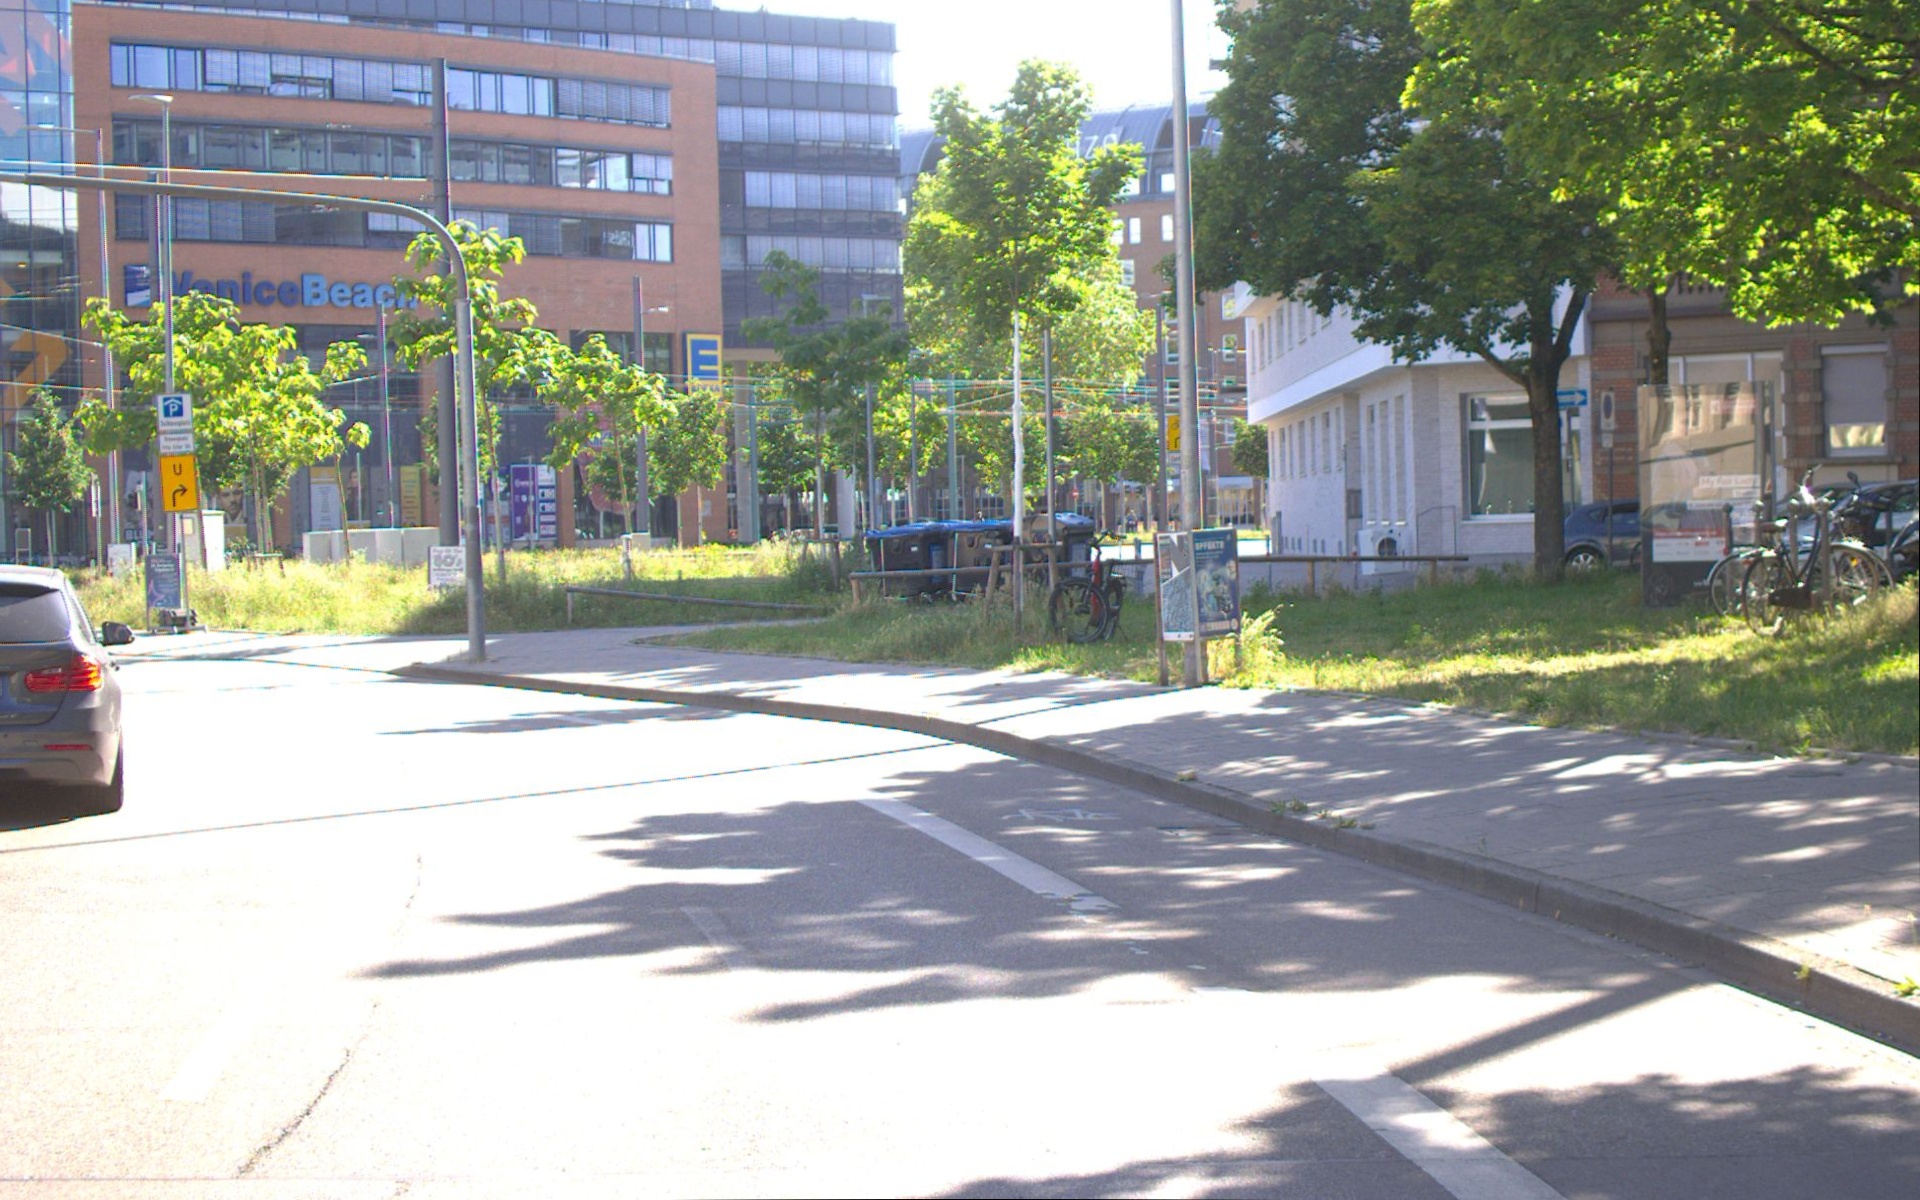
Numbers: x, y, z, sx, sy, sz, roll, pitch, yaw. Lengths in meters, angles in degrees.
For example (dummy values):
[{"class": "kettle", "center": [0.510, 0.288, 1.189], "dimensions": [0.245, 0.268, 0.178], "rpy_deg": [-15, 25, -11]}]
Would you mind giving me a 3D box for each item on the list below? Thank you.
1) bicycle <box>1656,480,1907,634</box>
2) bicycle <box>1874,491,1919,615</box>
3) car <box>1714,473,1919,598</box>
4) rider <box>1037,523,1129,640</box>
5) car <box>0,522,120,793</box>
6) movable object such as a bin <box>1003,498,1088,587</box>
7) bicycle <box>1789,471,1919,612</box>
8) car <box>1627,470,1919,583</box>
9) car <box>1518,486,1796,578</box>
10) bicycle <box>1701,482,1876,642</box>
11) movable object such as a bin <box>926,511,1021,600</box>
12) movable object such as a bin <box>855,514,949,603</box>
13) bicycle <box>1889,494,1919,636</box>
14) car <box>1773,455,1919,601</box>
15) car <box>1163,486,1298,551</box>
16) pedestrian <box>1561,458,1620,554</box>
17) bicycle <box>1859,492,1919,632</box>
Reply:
[{"class": "bicycle", "center": [7.558, -0.401, 31.680], "dimensions": [2.093, 1.360, 0.787], "rpy_deg": [-1, 1, -4]}, {"class": "bicycle", "center": [9.833, -0.469, 32.450], "dimensions": [2.162, 1.154, 0.822], "rpy_deg": [-1, 1, -3]}, {"class": "car", "center": [11.269, -0.807, 41.576], "dimensions": [3.830, 1.436, 1.760], "rpy_deg": [-2, 2, -20]}, {"class": "rider", "center": [1.318, -0.209, 36.581], "dimensions": [0.502, 1.172, 1.675], "rpy_deg": [-1, 2, 18]}, {"class": "car", "center": [-5.887, 0.300, 20.193], "dimensions": [1.733, 1.418, 4.469], "rpy_deg": [1, 0, -13]}, {"class": "movable object such as a bin", "center": [1.376, -0.930, 55.165], "dimensions": [1.030, 1.393, 1.089], "rpy_deg": [-1, 2, 21]}, {"class": "bicycle", "center": [9.544, -0.603, 34.762], "dimensions": [2.092, 1.393, 0.787], "rpy_deg": [-1, 1, -10]}, {"class": "car", "center": [10.747, -0.953, 43.811], "dimensions": [4.042, 1.332, 1.840], "rpy_deg": [-2, 2, -22]}, {"class": "car", "center": [11.554, -1.126, 57.031], "dimensions": [4.100, 1.431, 1.997], "rpy_deg": [-1, 1, 28]}, {"class": "bicycle", "center": [7.069, -0.332, 29.291], "dimensions": [0.769, 1.285, 1.594], "rpy_deg": [-1, 2, 41]}, {"class": "movable object such as a bin", "center": [0.219, -0.724, 55.389], "dimensions": [1.108, 1.393, 1.320], "rpy_deg": [-1, 2, 21]}, {"class": "movable object such as a bin", "center": [-0.933, -0.671, 55.424], "dimensions": [1.069, 1.393, 1.302], "rpy_deg": [-1, 2, 21]}, {"class": "bicycle", "center": [8.932, -0.339, 28.928], "dimensions": [1.944, 1.176, 0.900], "rpy_deg": [-3, 1, 0]}, {"class": "car", "center": [11.506, -0.847, 38.694], "dimensions": [4.456, 1.560, 1.938], "rpy_deg": [-2, 2, -30]}, {"class": "car", "center": [8.737, -2.631, 110.866], "dimensions": [3.990, 2.007, 1.999], "rpy_deg": [-1, 1, 17]}, {"class": "pedestrian", "center": [10.411, -1.549, 56.717], "dimensions": [0.642, 1.571, 0.770], "rpy_deg": [-1, 1, 38]}, {"class": "bicycle", "center": [8.931, -0.374, 29.883], "dimensions": [1.957, 1.188, 0.841], "rpy_deg": [-3, 1, 1]}]
